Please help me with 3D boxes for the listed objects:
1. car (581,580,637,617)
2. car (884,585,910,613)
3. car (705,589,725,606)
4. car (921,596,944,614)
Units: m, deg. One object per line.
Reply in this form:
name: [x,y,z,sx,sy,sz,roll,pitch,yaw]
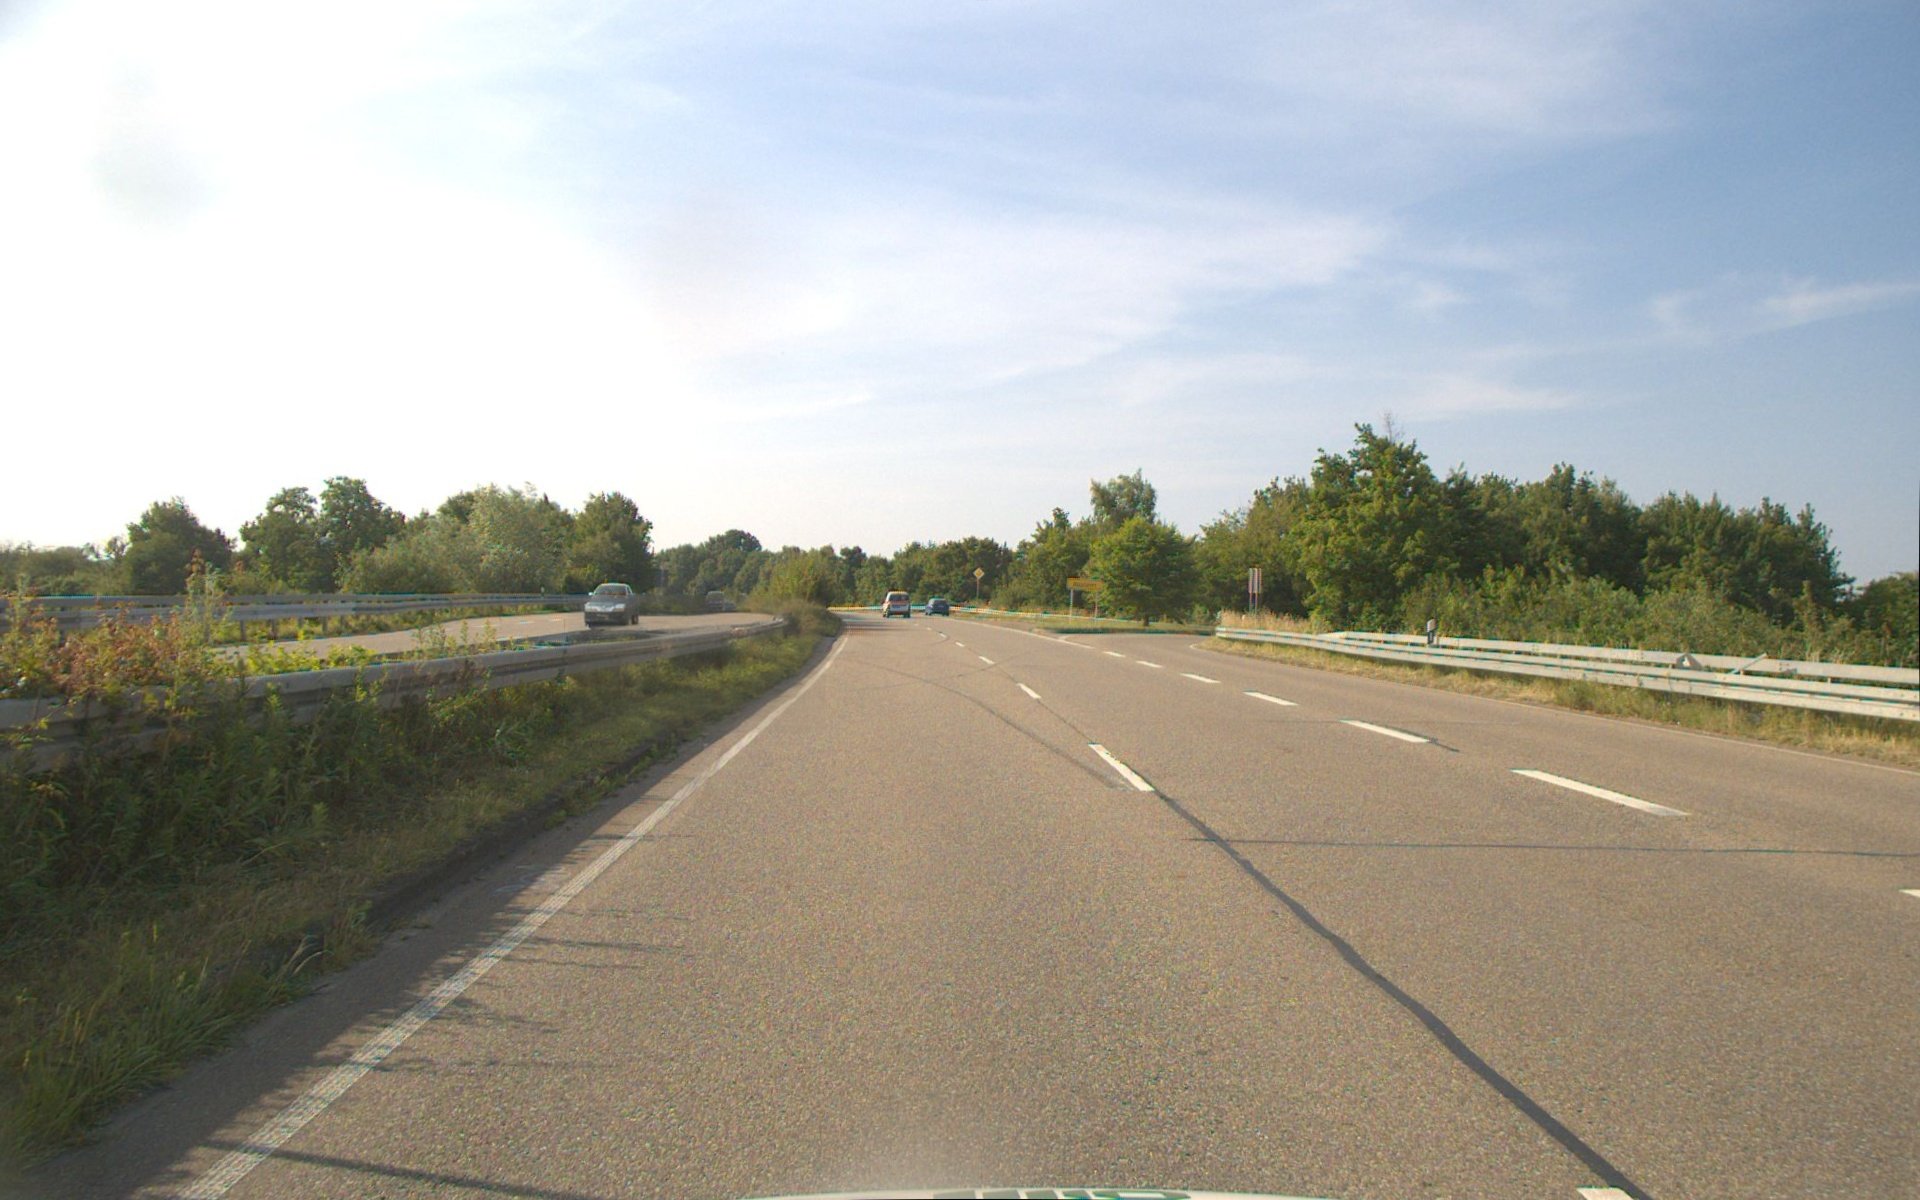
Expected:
car: [-14.667,-0.040,69.266,1.607,1.445,3.998,2,-1,-2]
car: [-4.506,-0.069,117.551,1.731,1.915,3.996,1,-1,-4]
car: [-19.952,-0.194,134.627,1.460,1.321,3.264,1,-1,-6]
car: [-2.399,0.455,144.838,1.744,1.477,3.996,1,-1,-4]
